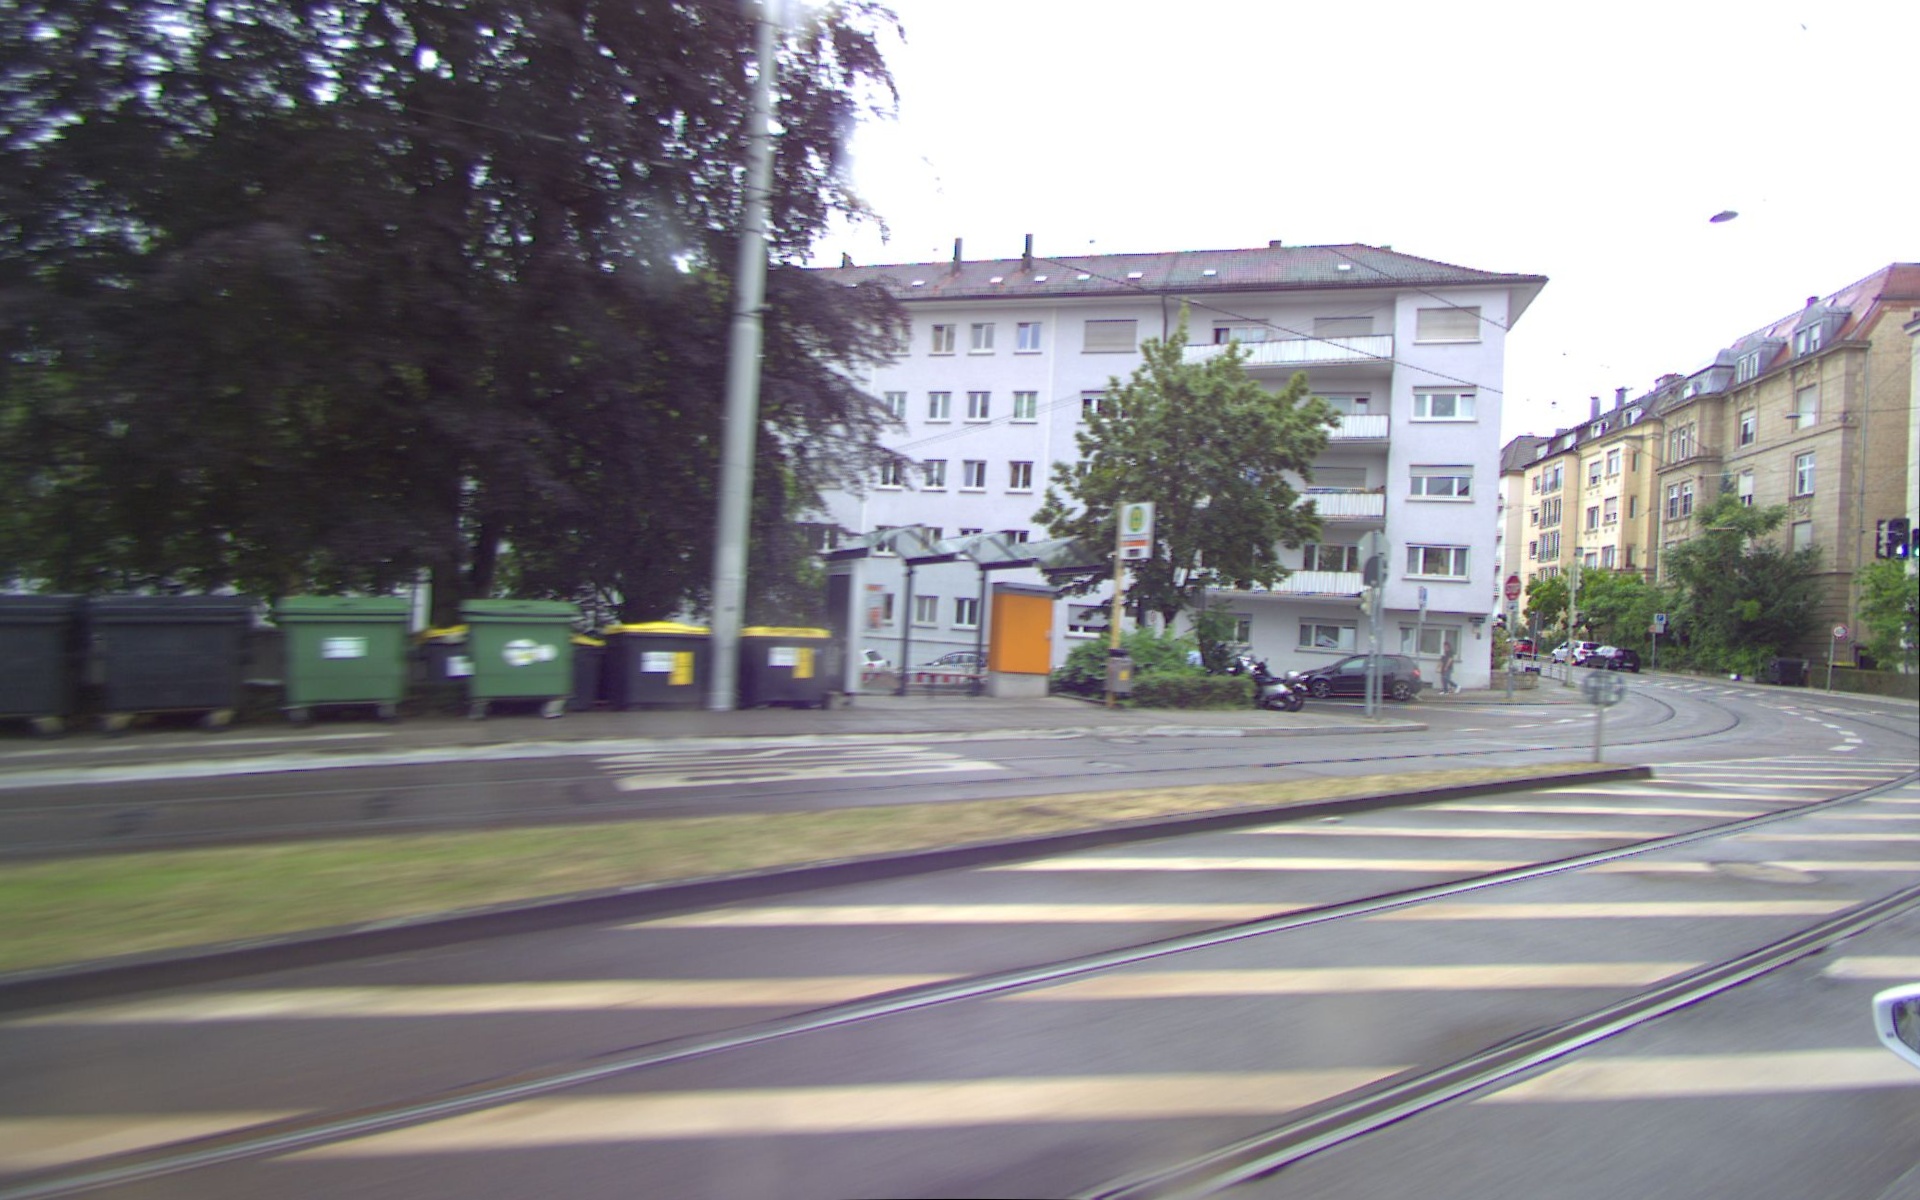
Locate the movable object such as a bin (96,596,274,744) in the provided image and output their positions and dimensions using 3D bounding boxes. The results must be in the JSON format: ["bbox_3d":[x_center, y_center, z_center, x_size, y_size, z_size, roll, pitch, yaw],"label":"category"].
[{"bbox_3d":[-8.261,0.709,10.797,1.338,1.453,1.017,1,2,-27],"label":"movable object such as a bin"}]

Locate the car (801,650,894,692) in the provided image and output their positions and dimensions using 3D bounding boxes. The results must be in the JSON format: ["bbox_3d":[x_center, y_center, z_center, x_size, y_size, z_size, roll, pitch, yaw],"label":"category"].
[{"bbox_3d":[-4.425,2.791,39.727,3.258,1.460,1.527,2,-2,18],"label":"car"}]

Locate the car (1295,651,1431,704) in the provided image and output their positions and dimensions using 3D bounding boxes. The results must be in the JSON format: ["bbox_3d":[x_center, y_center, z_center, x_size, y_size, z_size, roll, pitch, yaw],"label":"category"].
[{"bbox_3d":[13.788,2.639,34.627,4.167,1.474,1.856,1,1,17],"label":"car"}]

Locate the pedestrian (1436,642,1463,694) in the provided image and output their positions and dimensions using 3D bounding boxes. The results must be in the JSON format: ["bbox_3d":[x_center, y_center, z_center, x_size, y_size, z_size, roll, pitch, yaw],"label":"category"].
[{"bbox_3d":[17.101,2.358,35.073,0.731,1.723,0.673,2,2,21],"label":"pedestrian"}]

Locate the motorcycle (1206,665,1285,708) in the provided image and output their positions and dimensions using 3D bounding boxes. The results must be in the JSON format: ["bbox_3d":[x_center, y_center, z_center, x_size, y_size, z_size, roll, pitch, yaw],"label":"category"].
[{"bbox_3d":[8.012,2.429,28.252,2.080,1.063,0.485,2,2,9],"label":"motorcycle"}]

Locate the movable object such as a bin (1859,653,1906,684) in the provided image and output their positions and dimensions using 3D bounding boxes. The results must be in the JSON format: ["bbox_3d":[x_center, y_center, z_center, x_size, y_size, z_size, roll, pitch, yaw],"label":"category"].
[{"bbox_3d":[47.105,3.487,51.304,1.209,1.444,1.308,2,0,10],"label":"movable object such as a bin"}]

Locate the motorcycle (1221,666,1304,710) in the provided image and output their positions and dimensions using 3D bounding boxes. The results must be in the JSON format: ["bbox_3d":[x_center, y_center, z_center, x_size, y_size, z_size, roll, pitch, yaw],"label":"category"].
[{"bbox_3d":[8.147,2.368,27.117,2.080,1.063,0.485,2,2,9],"label":"motorcycle"}]

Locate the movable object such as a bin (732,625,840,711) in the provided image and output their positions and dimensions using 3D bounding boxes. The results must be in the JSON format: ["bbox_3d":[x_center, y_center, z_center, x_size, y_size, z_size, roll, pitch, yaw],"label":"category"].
[{"bbox_3d":[-2.573,0.974,14.810,1.325,1.153,1.017,1,2,-27],"label":"movable object such as a bin"}]

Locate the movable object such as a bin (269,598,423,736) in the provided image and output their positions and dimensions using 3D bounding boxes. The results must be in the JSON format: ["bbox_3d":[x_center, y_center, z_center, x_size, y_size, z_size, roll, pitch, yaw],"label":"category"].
[{"bbox_3d":[-7.004,0.723,11.561,1.426,1.453,1.017,1,2,-27],"label":"movable object such as a bin"}]

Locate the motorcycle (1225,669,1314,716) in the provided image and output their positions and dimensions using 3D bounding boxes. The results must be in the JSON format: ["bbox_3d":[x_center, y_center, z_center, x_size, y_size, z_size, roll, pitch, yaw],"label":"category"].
[{"bbox_3d":[7.860,2.339,25.548,2.080,1.063,0.485,2,2,9],"label":"motorcycle"}]

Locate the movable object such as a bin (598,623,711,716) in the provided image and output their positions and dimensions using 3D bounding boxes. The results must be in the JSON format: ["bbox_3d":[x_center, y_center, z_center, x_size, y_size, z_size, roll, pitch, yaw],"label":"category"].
[{"bbox_3d":[-4.198,0.915,13.782,1.325,1.153,1.017,1,2,-27],"label":"movable object such as a bin"}]

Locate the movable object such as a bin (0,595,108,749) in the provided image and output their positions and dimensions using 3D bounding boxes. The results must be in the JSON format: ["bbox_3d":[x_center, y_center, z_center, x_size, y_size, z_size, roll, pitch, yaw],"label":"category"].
[{"bbox_3d":[-9.571,0.695,10.123,1.287,1.453,1.017,1,2,-27],"label":"movable object such as a bin"}]

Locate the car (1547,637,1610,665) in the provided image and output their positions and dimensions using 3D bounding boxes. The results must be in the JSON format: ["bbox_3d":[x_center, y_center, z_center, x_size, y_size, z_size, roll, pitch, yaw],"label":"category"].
[{"bbox_3d":[40.839,3.341,66.444,1.736,1.625,4.290,3,0,5],"label":"car"}]

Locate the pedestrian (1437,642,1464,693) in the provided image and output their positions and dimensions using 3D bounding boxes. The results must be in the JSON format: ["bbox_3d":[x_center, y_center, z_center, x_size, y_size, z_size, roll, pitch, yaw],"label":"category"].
[{"bbox_3d":[17.522,2.407,35.891,0.731,1.723,0.673,2,2,20],"label":"pedestrian"}]

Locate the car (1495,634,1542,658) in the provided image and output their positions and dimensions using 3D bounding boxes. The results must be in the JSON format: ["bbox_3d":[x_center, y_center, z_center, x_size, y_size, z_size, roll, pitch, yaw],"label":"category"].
[{"bbox_3d":[41.766,3.407,75.259,1.693,1.456,3.843,4,0,8],"label":"car"}]

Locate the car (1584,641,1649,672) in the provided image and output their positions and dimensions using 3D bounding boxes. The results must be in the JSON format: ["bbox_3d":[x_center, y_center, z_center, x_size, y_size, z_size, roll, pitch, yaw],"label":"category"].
[{"bbox_3d":[39.849,3.402,61.044,1.736,1.409,4.002,5,2,9],"label":"car"}]

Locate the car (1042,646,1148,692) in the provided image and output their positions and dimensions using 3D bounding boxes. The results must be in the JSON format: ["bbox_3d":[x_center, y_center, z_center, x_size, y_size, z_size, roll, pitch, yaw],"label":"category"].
[{"bbox_3d":[4.970,2.501,36.894,3.673,1.460,1.621,2,-2,14],"label":"car"}]

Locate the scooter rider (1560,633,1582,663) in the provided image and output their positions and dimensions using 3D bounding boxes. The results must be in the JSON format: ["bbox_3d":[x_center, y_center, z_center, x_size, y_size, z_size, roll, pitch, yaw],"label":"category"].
[{"bbox_3d":[37.787,2.947,62.130,0.613,1.728,0.843,6,1,-2],"label":"scooter rider"}]

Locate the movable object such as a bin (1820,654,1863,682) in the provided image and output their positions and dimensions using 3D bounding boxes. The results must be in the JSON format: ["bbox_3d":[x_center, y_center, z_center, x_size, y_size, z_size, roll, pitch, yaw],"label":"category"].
[{"bbox_3d":[45.310,3.488,51.630,1.196,1.326,1.169,2,0,10],"label":"movable object such as a bin"}]

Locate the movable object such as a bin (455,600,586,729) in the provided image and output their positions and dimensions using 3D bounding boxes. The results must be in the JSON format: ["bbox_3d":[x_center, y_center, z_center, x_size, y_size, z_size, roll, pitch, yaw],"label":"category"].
[{"bbox_3d":[-5.417,0.751,12.362,1.409,1.453,1.017,1,2,-27],"label":"movable object such as a bin"}]

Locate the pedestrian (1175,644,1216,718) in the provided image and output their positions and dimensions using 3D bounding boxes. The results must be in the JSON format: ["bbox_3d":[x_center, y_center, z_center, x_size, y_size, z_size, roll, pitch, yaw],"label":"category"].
[{"bbox_3d":[5.589,1.906,23.849,0.768,1.706,0.564,3,-2,-37],"label":"pedestrian"}]

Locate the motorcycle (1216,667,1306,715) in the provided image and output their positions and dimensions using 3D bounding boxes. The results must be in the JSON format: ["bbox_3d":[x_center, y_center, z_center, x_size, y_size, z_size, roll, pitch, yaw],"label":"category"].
[{"bbox_3d":[7.479,2.267,25.036,2.080,1.063,0.485,2,0,9],"label":"motorcycle"}]

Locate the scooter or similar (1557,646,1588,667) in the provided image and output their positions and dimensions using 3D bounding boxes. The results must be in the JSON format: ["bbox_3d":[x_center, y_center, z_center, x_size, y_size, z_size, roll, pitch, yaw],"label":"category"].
[{"bbox_3d":[37.776,3.467,61.962,0.505,1.063,2.008,6,1,-2],"label":"scooter or similar"}]

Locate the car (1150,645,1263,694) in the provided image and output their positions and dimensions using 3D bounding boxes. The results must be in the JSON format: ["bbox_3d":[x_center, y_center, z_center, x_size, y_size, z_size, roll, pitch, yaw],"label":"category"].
[{"bbox_3d":[8.779,2.454,35.872,3.813,1.474,1.655,1,1,14],"label":"car"}]

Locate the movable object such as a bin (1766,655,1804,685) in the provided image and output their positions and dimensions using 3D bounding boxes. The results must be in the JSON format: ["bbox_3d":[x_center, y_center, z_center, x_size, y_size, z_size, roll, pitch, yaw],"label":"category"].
[{"bbox_3d":[42.546,3.599,51.813,1.204,1.422,0.823,1,2,3],"label":"movable object such as a bin"}]
